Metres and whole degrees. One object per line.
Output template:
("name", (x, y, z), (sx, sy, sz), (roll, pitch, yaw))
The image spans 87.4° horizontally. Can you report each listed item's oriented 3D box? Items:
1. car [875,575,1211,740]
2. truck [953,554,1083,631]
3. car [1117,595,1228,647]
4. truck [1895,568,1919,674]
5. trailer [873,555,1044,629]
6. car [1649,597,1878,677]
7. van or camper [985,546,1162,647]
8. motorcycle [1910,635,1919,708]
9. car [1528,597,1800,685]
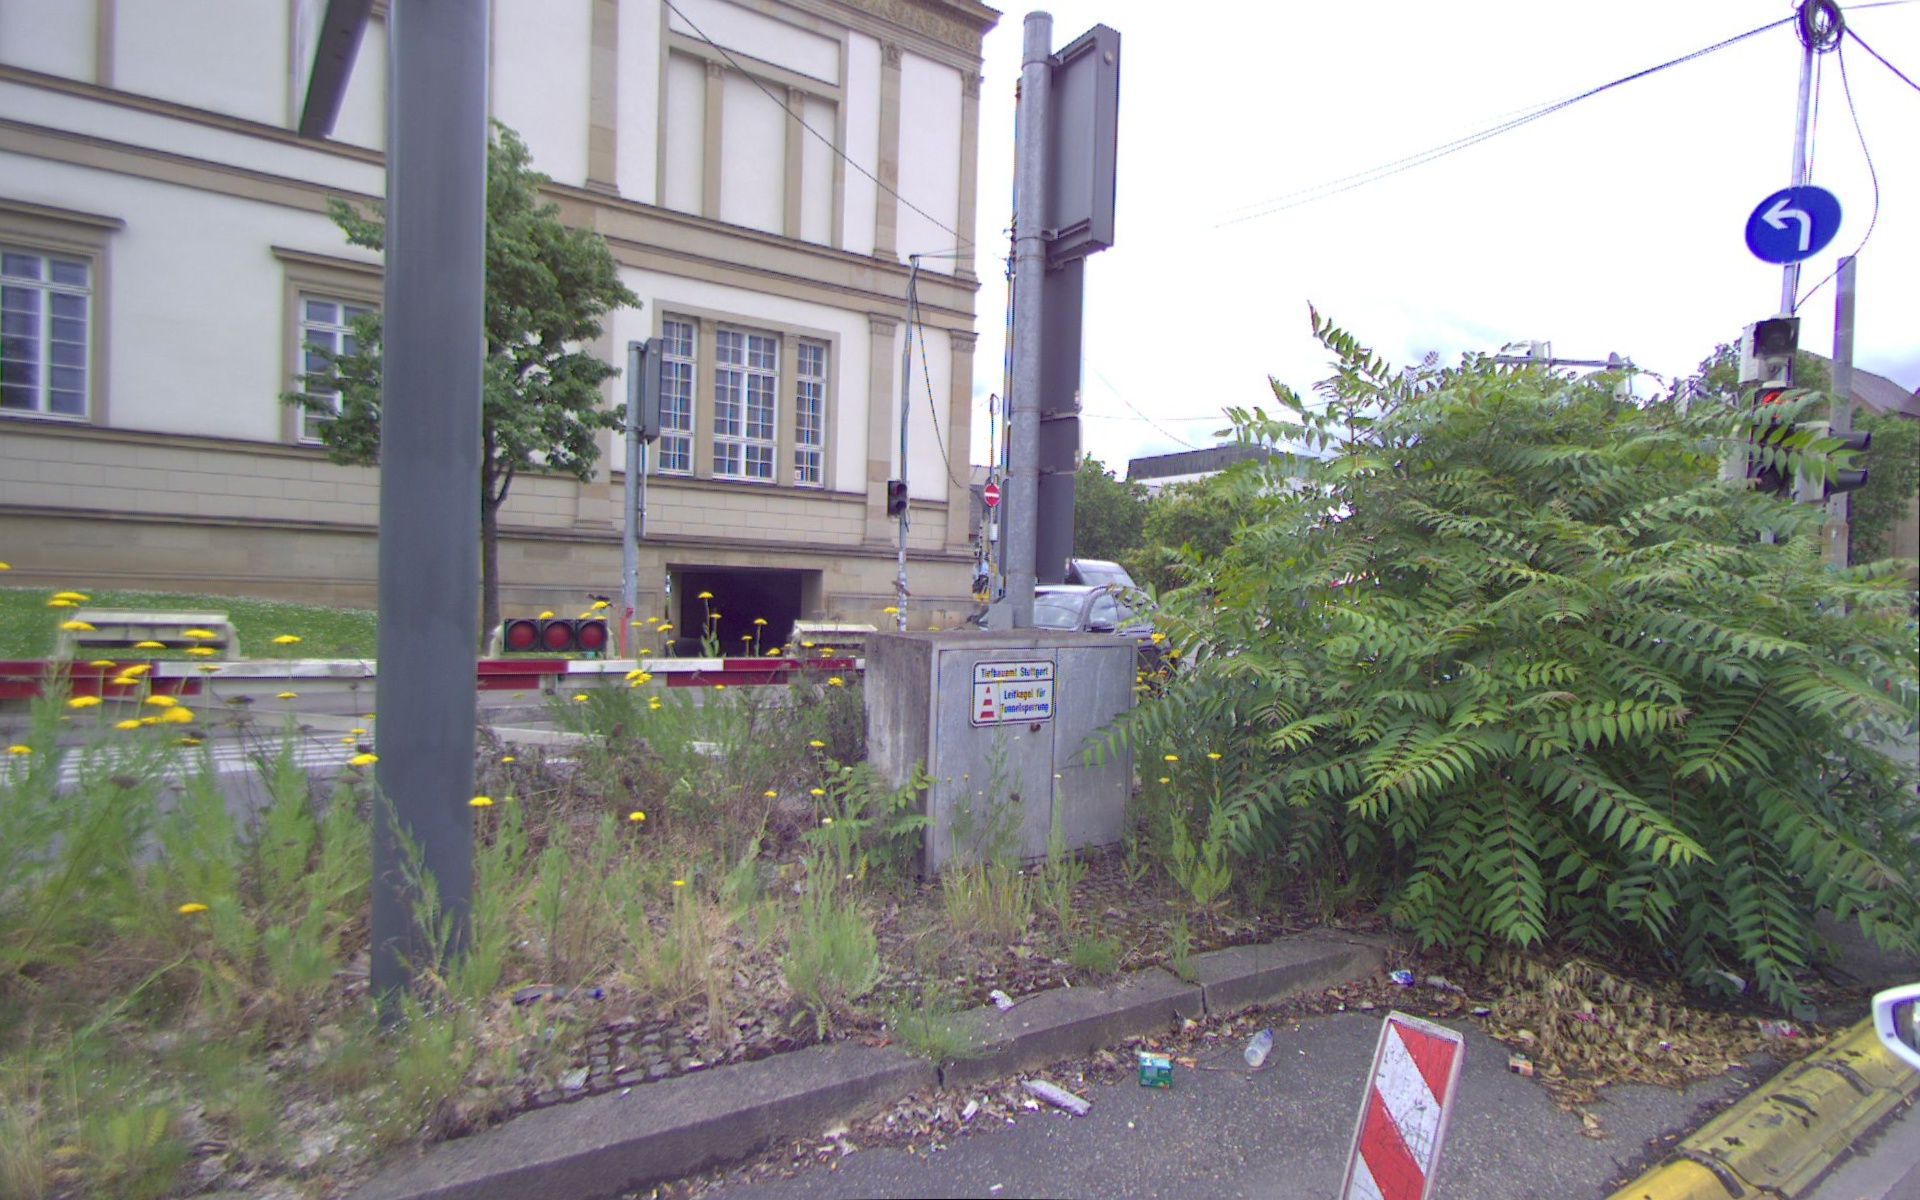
("car", (1.181, 0.611, 12.278), (1.858, 1.647, 4.348), (2, 0, 41))
("truck", (2.184, -0.281, 38.650), (2.841, 2.761, 4.167), (2, 0, -41))
("car", (8.061, 0.764, 38.442), (1.889, 1.763, 3.964), (2, 1, -32))
("truck", (49.927, 1.112, 46.315), (9.594, 5.026, 3.101), (2, 0, 38))
("trailer", (-0.207, -0.314, 41.344), (2.841, 2.761, 7.281), (2, 0, -42))
("car", (20.693, 0.886, 26.048), (1.978, 1.858, 4.220), (2, 0, -32))
("van or camper", (3.130, -0.120, 29.468), (2.132, 2.645, 6.040), (1, 0, -28))
("motorcycle", (16.182, 1.169, 15.467), (0.644, 1.170, 2.158), (2, 0, -28))
("car", (15.748, 0.849, 22.756), (1.978, 1.725, 4.646), (2, 0, -31))
